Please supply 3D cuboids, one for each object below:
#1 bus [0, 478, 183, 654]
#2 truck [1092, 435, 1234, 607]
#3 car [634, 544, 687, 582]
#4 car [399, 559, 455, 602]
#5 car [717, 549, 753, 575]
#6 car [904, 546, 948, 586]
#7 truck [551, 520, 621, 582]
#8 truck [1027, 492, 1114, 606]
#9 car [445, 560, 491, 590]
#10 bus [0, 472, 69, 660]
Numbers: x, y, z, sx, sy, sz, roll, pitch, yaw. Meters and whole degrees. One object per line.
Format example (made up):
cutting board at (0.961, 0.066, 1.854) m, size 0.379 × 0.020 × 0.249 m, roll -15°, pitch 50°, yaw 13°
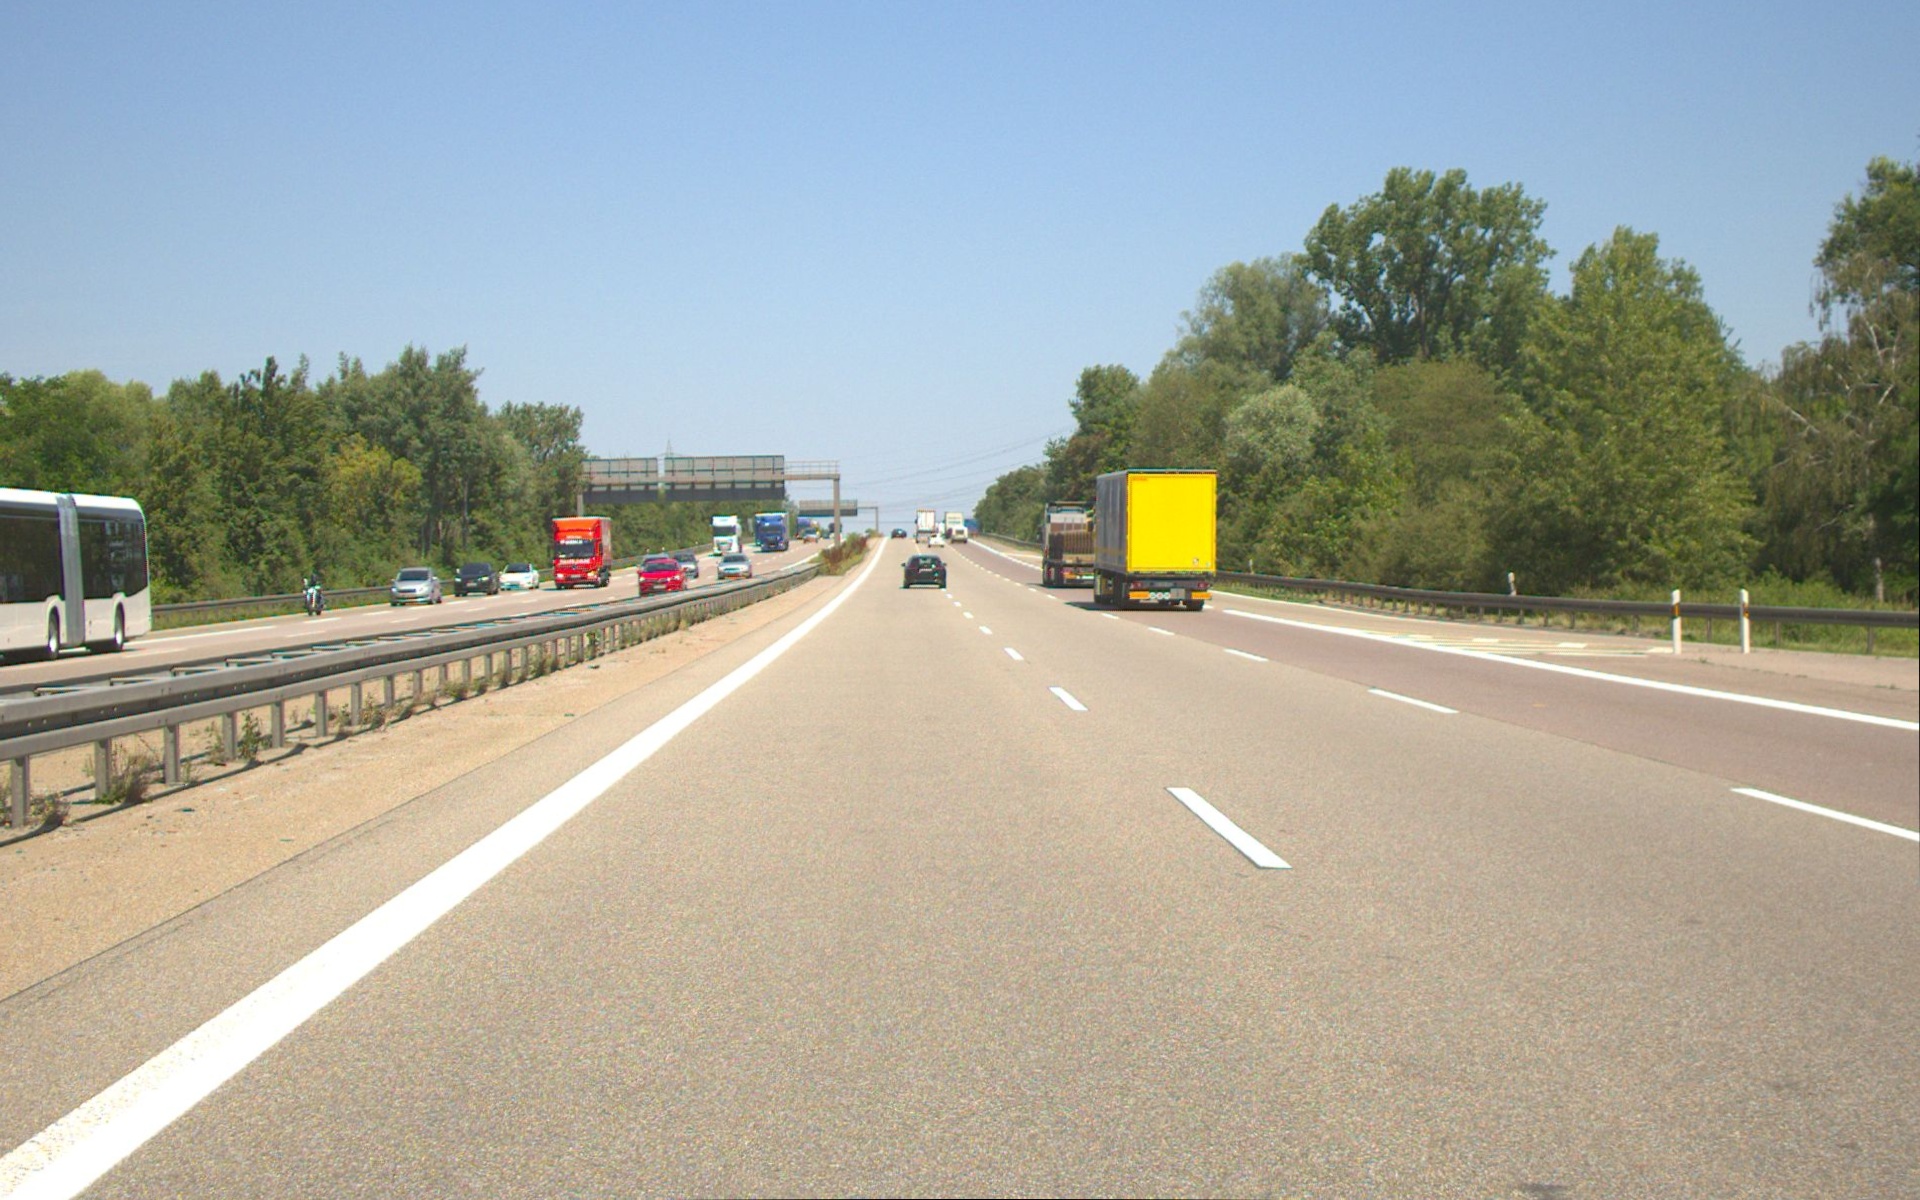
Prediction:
bus at (-18.938, -0.712, 72.714) m, size 2.763 × 3.435 × 10.146 m, roll -1°, pitch 1°, yaw -1°
truck at (6.064, -2.343, 105.309) m, size 3.377 × 4.864 × 15.086 m, roll 1°, pitch 1°, yaw 0°
car at (-12.171, -1.523, 139.953) m, size 1.808 × 1.498 × 4.000 m, roll -1°, pitch 1°, yaw -1°
car at (-22.833, -0.855, 147.279) m, size 1.808 × 1.766 × 4.000 m, roll -1°, pitch 1°, yaw -1°
car at (-12.936, -2.191, 197.715) m, size 1.808 × 1.498 × 4.000 m, roll -1°, pitch 1°, yaw -1°
car at (-1.483, -1.465, 148.027) m, size 1.827 × 1.700 × 4.000 m, roll 1°, pitch 1°, yaw -1°
truck at (-20.225, -2.654, 186.662) m, size 2.597 × 3.201 × 12.125 m, roll 1°, pitch 1°, yaw -1°
truck at (4.902, -2.276, 155.399) m, size 3.367 × 4.864 × 15.086 m, roll 1°, pitch 1°, yaw 0°
car at (-24.675, -1.267, 172.519) m, size 1.808 × 1.498 × 4.000 m, roll -1°, pitch 1°, yaw -1°
bus at (-18.904, -0.596, 63.158) m, size 2.763 × 3.435 × 8.932 m, roll -1°, pitch 1°, yaw -1°
